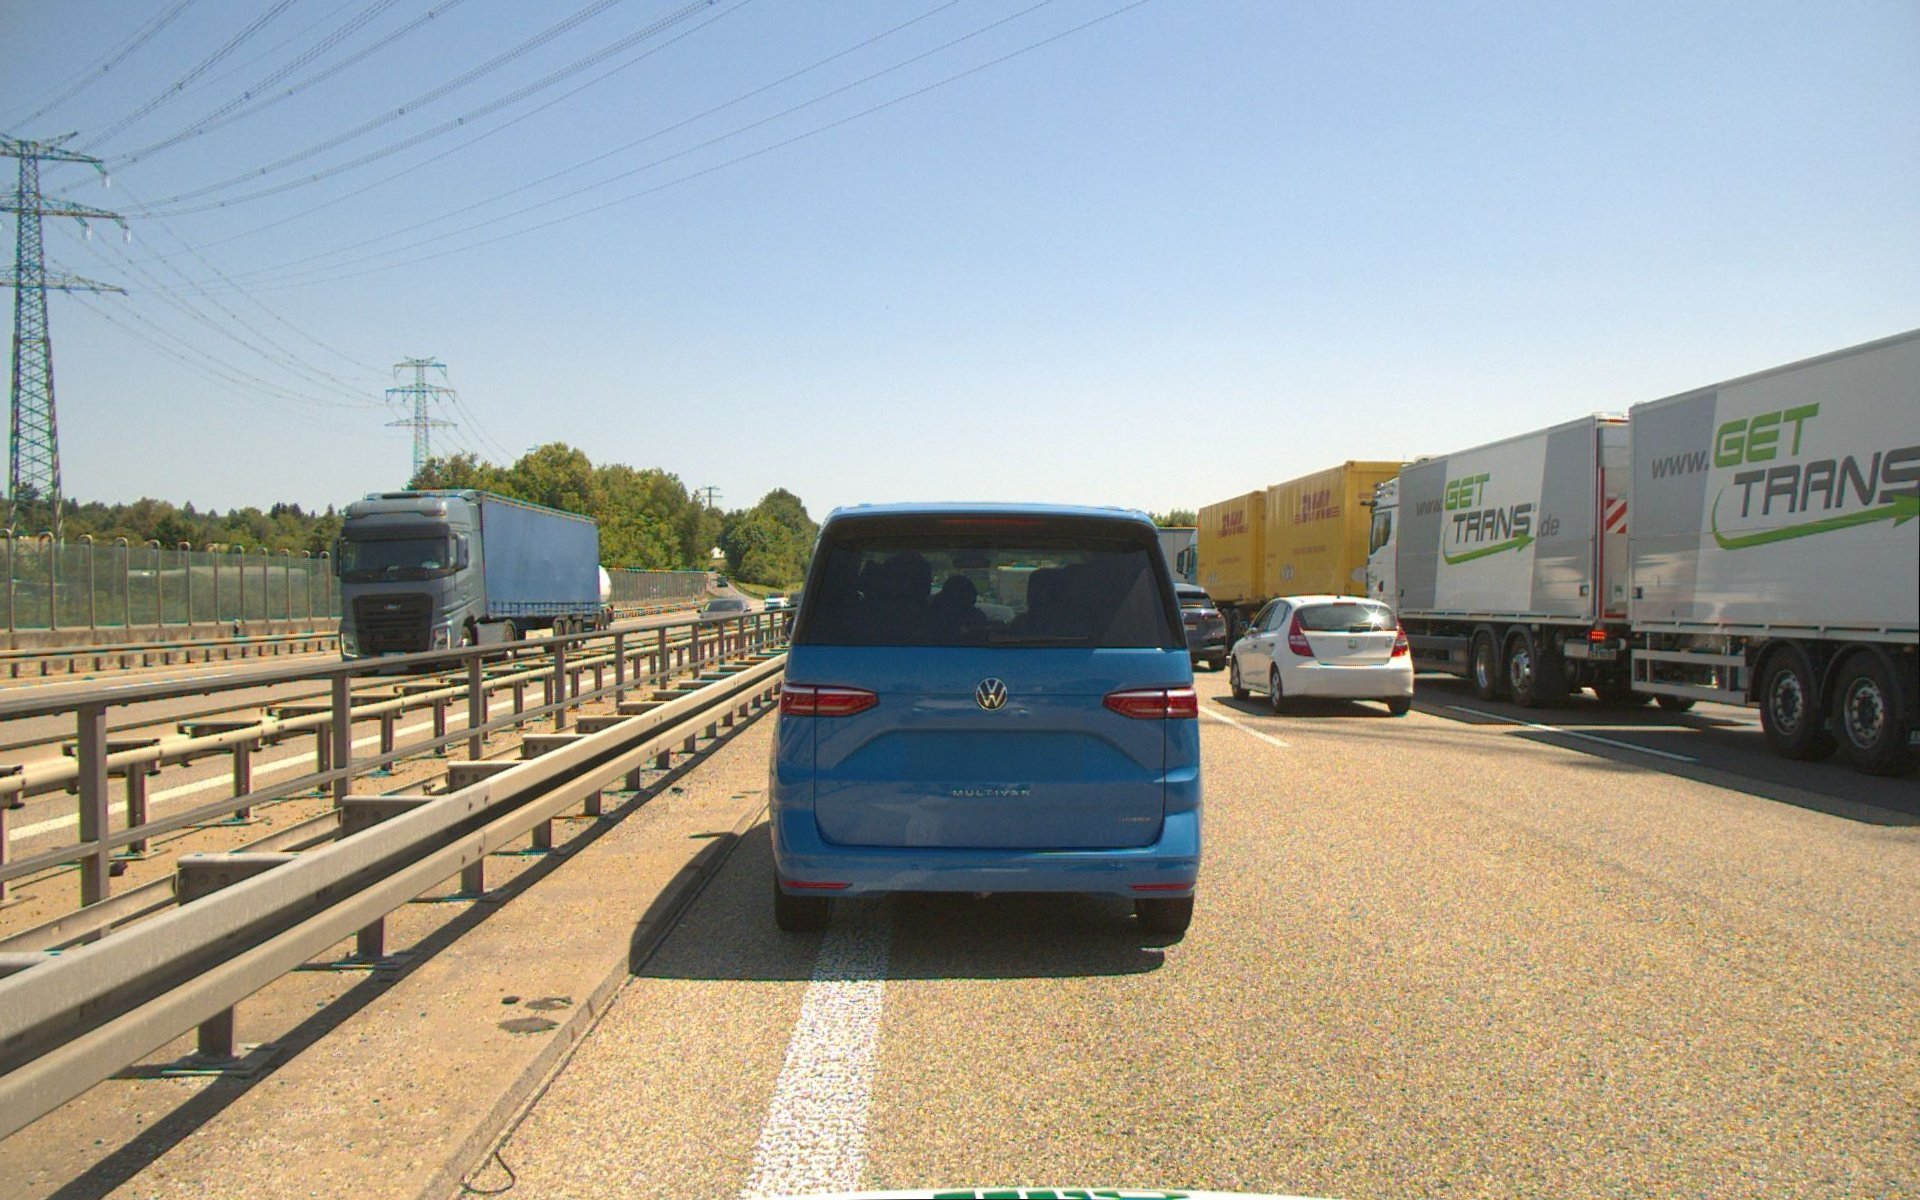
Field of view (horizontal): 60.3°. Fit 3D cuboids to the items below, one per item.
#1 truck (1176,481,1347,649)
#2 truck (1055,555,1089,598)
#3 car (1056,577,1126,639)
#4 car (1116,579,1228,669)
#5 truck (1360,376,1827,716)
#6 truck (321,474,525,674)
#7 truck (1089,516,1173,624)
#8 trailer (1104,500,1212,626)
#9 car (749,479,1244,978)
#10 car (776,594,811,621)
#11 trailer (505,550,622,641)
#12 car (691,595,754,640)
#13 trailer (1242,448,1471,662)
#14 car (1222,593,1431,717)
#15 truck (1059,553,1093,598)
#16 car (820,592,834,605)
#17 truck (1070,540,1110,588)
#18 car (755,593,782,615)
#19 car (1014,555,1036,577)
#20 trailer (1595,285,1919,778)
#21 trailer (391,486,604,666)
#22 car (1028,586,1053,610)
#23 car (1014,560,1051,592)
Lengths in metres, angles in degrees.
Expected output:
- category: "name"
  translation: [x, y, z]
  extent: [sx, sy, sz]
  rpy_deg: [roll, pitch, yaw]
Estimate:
- category: "truck"
  translation: [8.191, -0.846, 46.291]
  extent: [2.645, 4.159, 9.936]
  rpy_deg: [1, 0, -2]
- category: "truck"
  translation: [7.030, -1.444, 104.043]
  extent: [1.760, 2.641, 4.305]
  rpy_deg: [1, 0, -1]
- category: "car"
  translation: [4.314, 0.273, 55.000]
  extent: [1.922, 1.970, 3.931]
  rpy_deg: [1, 0, -1]
- category: "car"
  translation: [4.274, 0.479, 33.845]
  extent: [1.778, 1.708, 3.932]
  rpy_deg: [1, 0, 0]
- category: "truck"
  translation: [8.852, -0.620, 25.033]
  extent: [2.794, 4.003, 10.607]
  rpy_deg: [1, 0, -1]
- category: "truck"
  translation: [-12.230, -0.542, 38.256]
  extent: [2.697, 4.188, 6.263]
  rpy_deg: [-1, 0, -1]
- category: "truck"
  translation: [7.863, -1.312, 76.933]
  extent: [2.964, 4.692, 7.920]
  rpy_deg: [1, 0, 0]
- category: "trailer"
  translation: [7.920, -1.357, 67.499]
  extent: [2.964, 4.692, 10.923]
  rpy_deg: [1, 0, 0]
- category: "car"
  translation: [0.121, 0.509, 8.410]
  extent: [1.891, 1.906, 3.999]
  rpy_deg: [1, 0, -1]
- category: "car"
  translation: [-10.190, 0.460, 101.630]
  extent: [1.844, 1.579, 4.188]
  rpy_deg: [1, 0, -2]
- category: "trailer"
  translation: [-17.109, -0.165, 72.195]
  extent: [2.448, 3.602, 10.902]
  rpy_deg: [-2, 0, 0]
- category: "car"
  translation: [-8.732, 0.646, 61.106]
  extent: [1.844, 1.579, 4.188]
  rpy_deg: [1, 0, -2]
- category: "trailer"
  translation: [8.533, -0.857, 36.861]
  extent: [2.628, 4.159, 8.976]
  rpy_deg: [1, 0, -2]
- category: "car"
  translation: [4.801, 0.682, 22.224]
  extent: [1.779, 1.496, 3.930]
  rpy_deg: [1, 0, -2]
- category: "truck"
  translation: [6.940, -1.437, 99.122]
  extent: [1.706, 2.593, 4.209]
  rpy_deg: [1, 0, -1]
- category: "car"
  translation: [-19.726, -0.236, 245.477]
  extent: [1.802, 1.854, 4.746]
  rpy_deg: [-1, 0, -2]
- category: "truck"
  translation: [7.073, -1.930, 90.137]
  extent: [1.761, 2.492, 4.503]
  rpy_deg: [1, 0, -1]
- category: "car"
  translation: [-15.315, 0.343, 132.164]
  extent: [1.770, 1.668, 3.998]
  rpy_deg: [-2, 0, -2]
- category: "car"
  translation: [5.721, -2.991, 146.747]
  extent: [1.760, 1.782, 3.943]
  rpy_deg: [1, 0, -1]
- category: "trailer"
  translation: [9.075, -0.521, 15.610]
  extent: [2.840, 3.959, 8.212]
  rpy_deg: [1, 0, -1]
- category: "trailer"
  translation: [-12.398, -0.548, 45.694]
  extent: [2.650, 4.238, 12.046]
  rpy_deg: [-2, 0, -1]
- category: "car"
  translation: [6.358, -0.147, 131.392]
  extent: [1.760, 1.782, 3.943]
  rpy_deg: [1, 0, -1]
- category: "car"
  translation: [4.175, -1.375, 95.553]
  extent: [1.880, 1.736, 3.999]
  rpy_deg: [1, 0, -1]
